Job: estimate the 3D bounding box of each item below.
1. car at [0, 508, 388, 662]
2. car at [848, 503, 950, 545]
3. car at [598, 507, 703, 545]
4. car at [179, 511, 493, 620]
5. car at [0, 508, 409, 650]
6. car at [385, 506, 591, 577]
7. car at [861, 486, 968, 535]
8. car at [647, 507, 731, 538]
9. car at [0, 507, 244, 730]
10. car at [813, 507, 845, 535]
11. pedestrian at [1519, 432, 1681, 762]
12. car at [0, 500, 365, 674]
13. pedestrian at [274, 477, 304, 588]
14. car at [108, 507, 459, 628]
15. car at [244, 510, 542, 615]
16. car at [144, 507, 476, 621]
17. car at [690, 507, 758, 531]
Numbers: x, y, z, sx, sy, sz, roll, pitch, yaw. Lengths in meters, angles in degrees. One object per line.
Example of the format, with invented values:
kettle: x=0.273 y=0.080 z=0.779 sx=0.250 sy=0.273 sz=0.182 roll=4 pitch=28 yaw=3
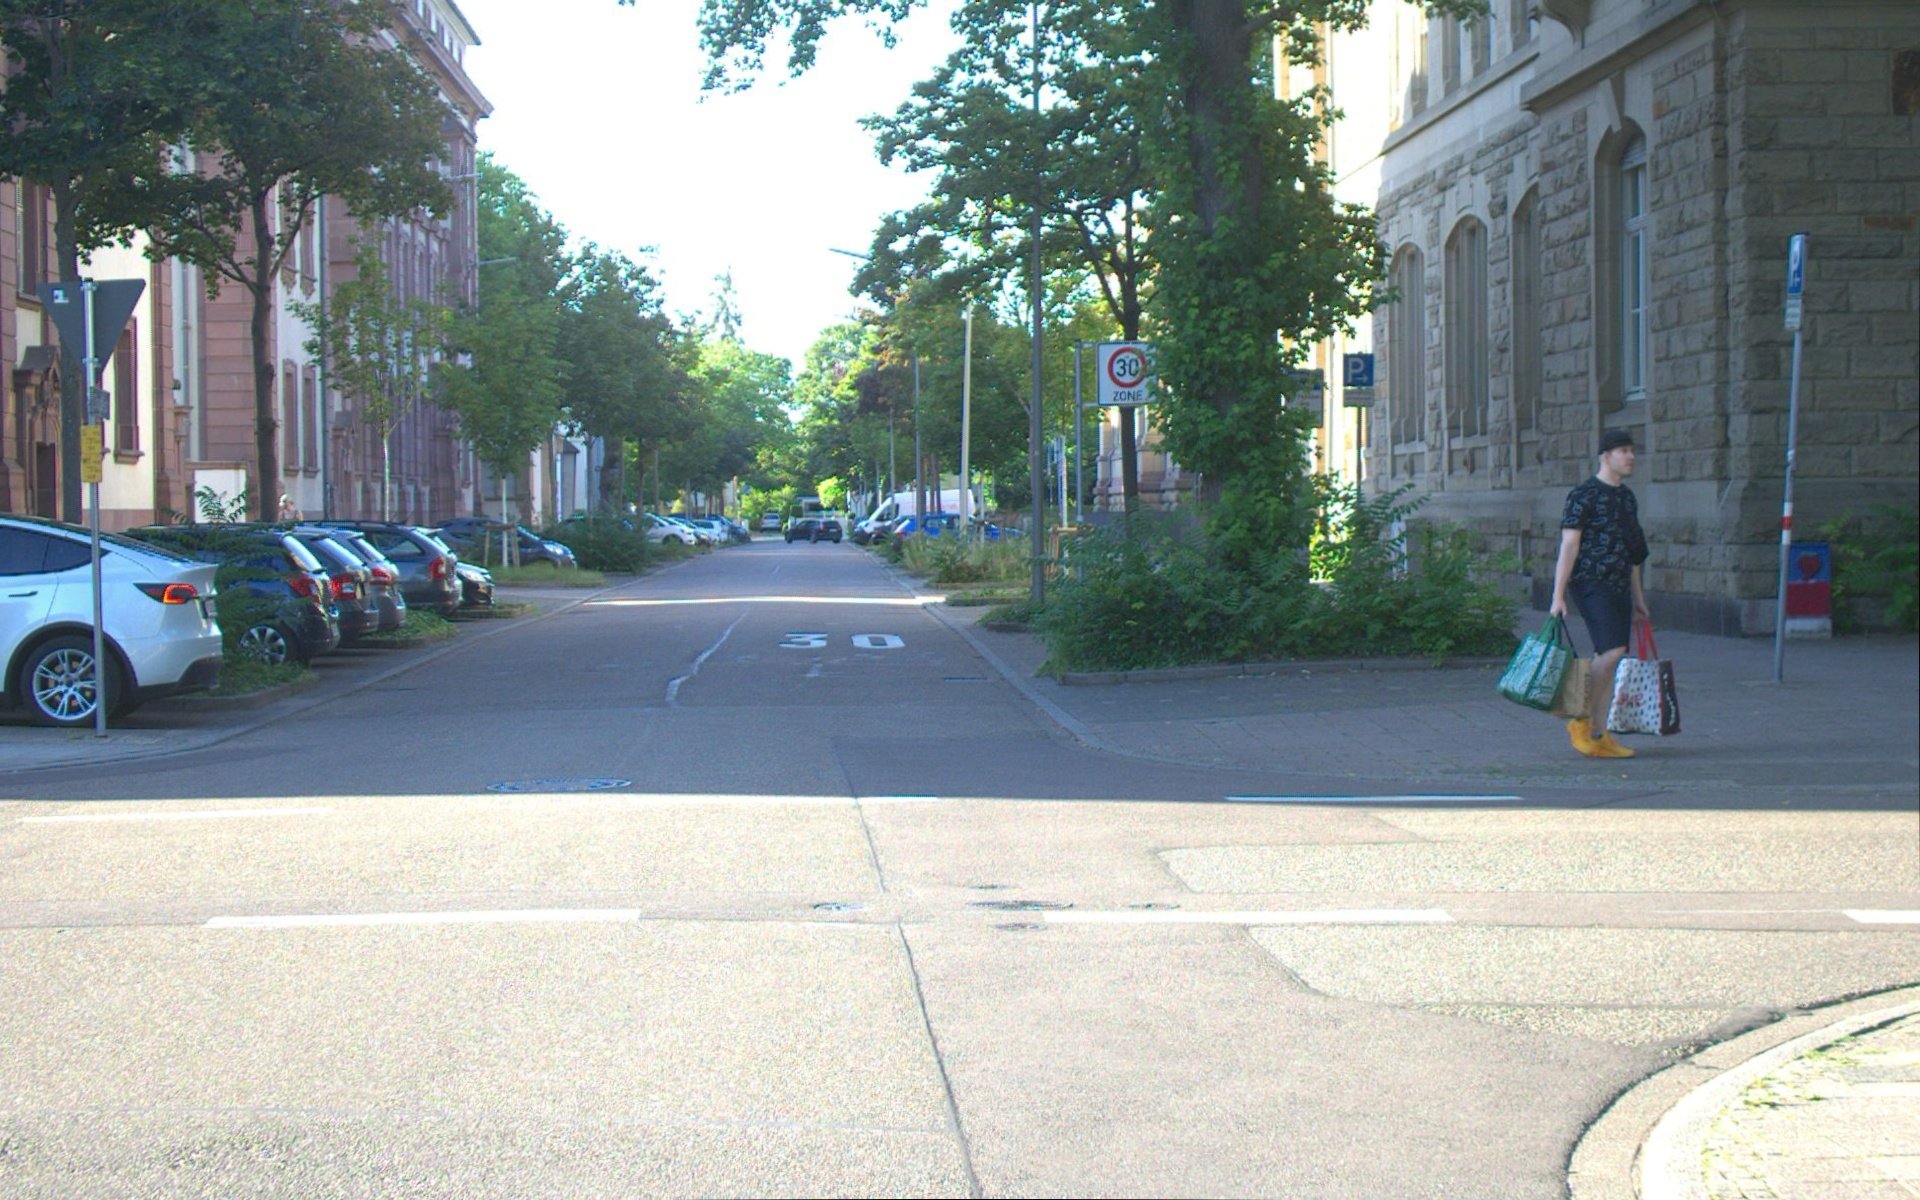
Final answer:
car: x=-8.310 y=-0.178 z=36.132 sx=4.378 sy=1.491 sz=1.967 roll=1 pitch=1 yaw=-5
car: x=-2.445 y=-3.028 z=136.672 sx=3.986 sy=1.612 sz=1.789 roll=-1 pitch=2 yaw=-2
car: x=-12.475 y=-2.986 z=138.562 sx=4.089 sy=1.488 sz=1.933 roll=-1 pitch=2 yaw=-2
car: x=-9.165 y=-0.527 z=50.804 sx=4.378 sy=1.491 sz=1.967 roll=1 pitch=1 yaw=-5
car: x=-8.550 y=-0.255 z=39.024 sx=4.378 sy=1.491 sz=1.967 roll=1 pitch=1 yaw=-5
car: x=-10.569 y=-1.323 z=77.213 sx=4.378 sy=1.491 sz=1.967 roll=1 pitch=1 yaw=-2
car: x=-2.041 y=-3.974 z=152.162 sx=4.704 sy=2.096 sz=2.000 roll=-1 pitch=2 yaw=-2
car: x=-13.468 y=-3.875 z=171.010 sx=4.089 sy=1.488 sz=1.933 roll=-1 pitch=2 yaw=-2
car: x=-7.983 y=0.069 z=26.185 sx=4.705 sy=1.584 sz=1.967 roll=2 pitch=1 yaw=-5
car: x=-8.034 y=-4.847 z=210.875 sx=1.743 sy=1.700 sz=3.674 roll=-1 pitch=2 yaw=-5
pedestrian: x=3.776 y=-0.028 z=20.308 sx=0.720 sy=1.912 sz=0.614 roll=-1 pitch=1 yaw=-25
car: x=-8.083 y=-0.149 z=33.347 sx=4.378 sy=1.579 sz=1.967 roll=1 pitch=2 yaw=-5
pedestrian: x=-12.215 y=-1.231 z=62.606 sx=0.434 sy=2.007 sz=0.463 roll=0 pitch=1 yaw=-2
car: x=-8.936 y=-0.445 z=45.714 sx=4.378 sy=1.491 sz=1.967 roll=1 pitch=1 yaw=-5
car: x=-8.697 y=-0.588 z=53.025 sx=4.378 sy=1.491 sz=1.967 roll=1 pitch=1 yaw=-5
car: x=-9.078 y=-0.520 z=48.309 sx=4.378 sy=1.491 sz=1.967 roll=1 pitch=1 yaw=-5
car: x=-14.627 y=-5.028 z=213.335 sx=4.089 sy=1.488 sz=1.933 roll=-1 pitch=2 yaw=-2
